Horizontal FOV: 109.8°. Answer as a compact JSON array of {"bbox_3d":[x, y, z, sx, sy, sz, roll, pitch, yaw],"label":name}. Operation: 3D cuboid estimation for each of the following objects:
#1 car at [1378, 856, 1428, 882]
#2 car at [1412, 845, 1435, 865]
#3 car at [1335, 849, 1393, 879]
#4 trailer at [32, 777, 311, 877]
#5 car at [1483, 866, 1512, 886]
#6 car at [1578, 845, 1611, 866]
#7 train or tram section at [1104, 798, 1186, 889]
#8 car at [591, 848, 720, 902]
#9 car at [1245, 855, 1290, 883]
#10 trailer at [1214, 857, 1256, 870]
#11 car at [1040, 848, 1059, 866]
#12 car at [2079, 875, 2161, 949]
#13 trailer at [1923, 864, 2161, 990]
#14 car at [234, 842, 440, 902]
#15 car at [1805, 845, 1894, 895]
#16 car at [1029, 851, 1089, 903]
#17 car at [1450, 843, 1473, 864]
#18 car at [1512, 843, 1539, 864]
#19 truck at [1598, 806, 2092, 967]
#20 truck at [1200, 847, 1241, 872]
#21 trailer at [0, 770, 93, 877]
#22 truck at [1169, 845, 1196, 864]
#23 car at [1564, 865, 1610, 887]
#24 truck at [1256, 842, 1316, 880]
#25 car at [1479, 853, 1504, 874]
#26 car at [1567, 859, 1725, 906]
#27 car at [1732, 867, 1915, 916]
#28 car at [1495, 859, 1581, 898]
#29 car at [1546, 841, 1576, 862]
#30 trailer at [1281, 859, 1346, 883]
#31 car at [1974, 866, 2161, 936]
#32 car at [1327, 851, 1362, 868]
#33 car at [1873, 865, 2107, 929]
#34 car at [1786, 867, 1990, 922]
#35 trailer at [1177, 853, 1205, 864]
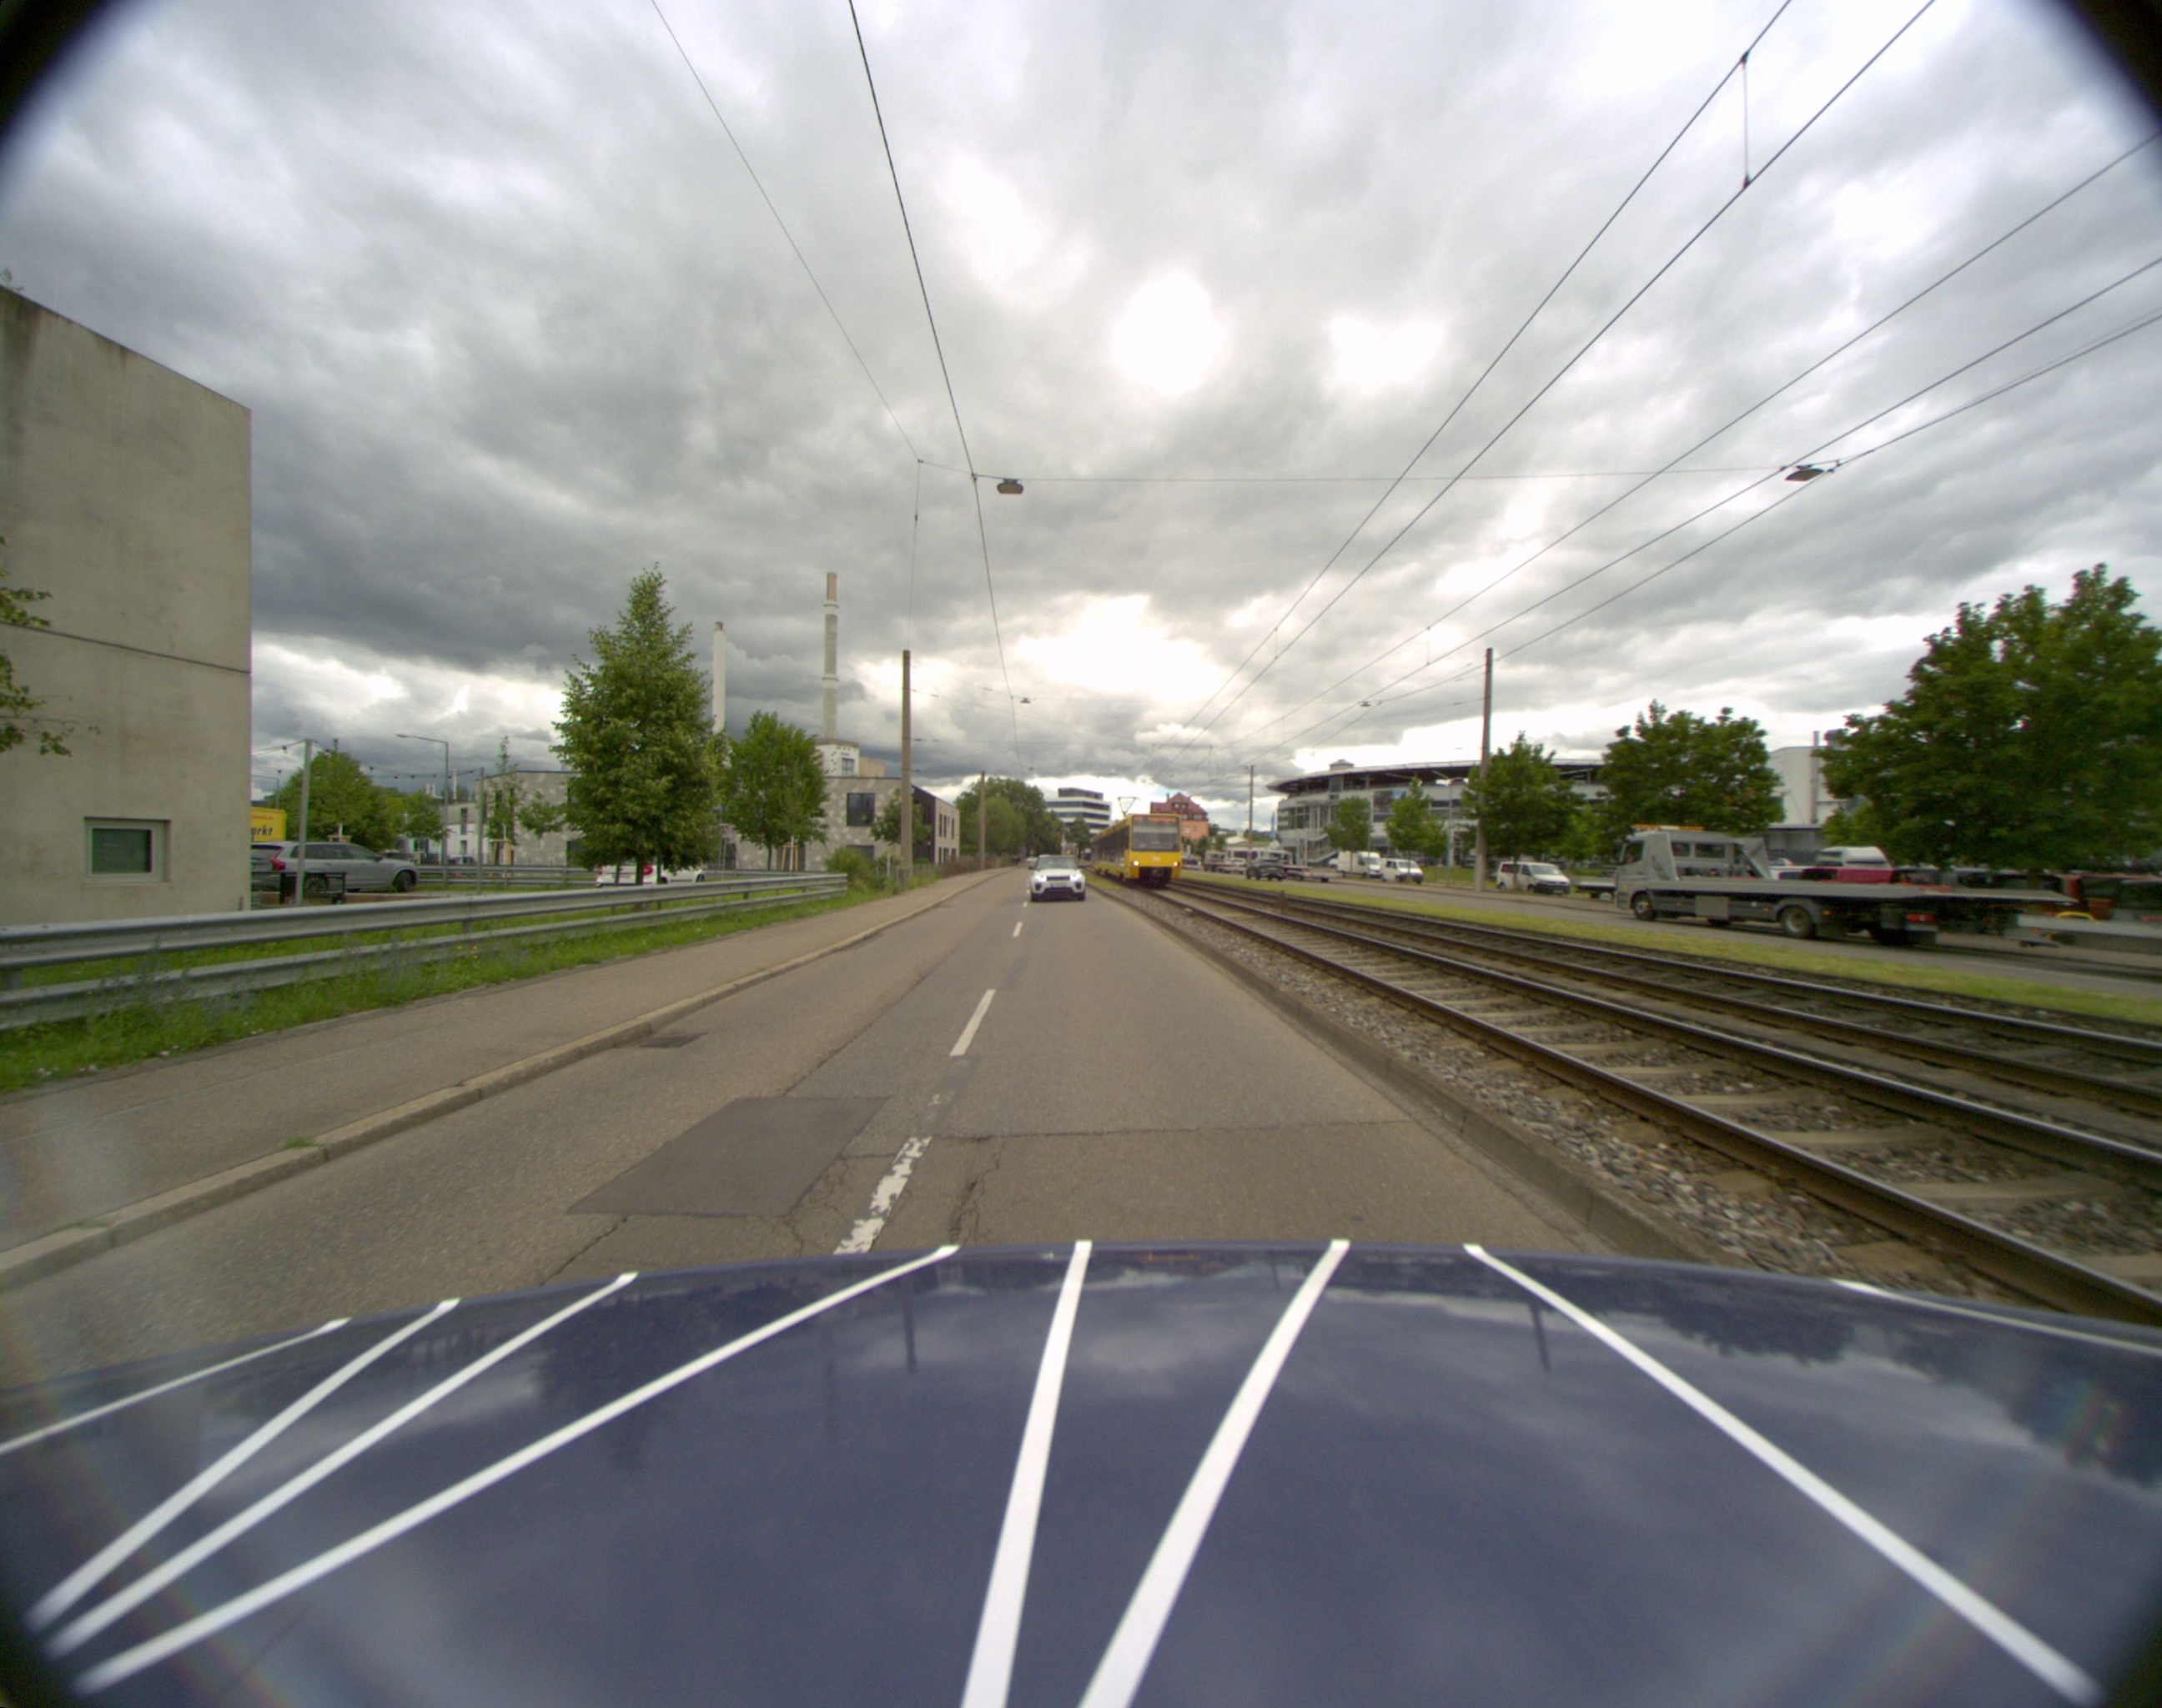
[{"bbox_3d":[26.035,1.193,61.572,1.999,2.002,4.807,0,0,0],"label":"car"},{"bbox_3d":[35.728,0.097,79.213,1.995,2.002,4.007,1,0,26],"label":"car"},{"bbox_3d":[25.203,0.882,67.917,2.001,2.546,5.856,0,0,-12],"label":"car"},{"bbox_3d":[-41.726,-1.041,35.528,2.948,4.047,8.693,1,-1,-4],"label":"trailer"},{"bbox_3d":[36.842,1.933,67.292,1.673,1.608,3.721,1,0,19],"label":"car"},{"bbox_3d":[49.213,0.123,72.907,1.995,2.002,4.007,1,1,26],"label":"car"},{"bbox_3d":[3.103,-0.561,42.313,3.396,3.984,16.942,-1,1,1],"label":"train or tram section"},{"bbox_3d":[-13.544,0.627,24.525,1.754,1.564,4.429,-1,0,-2],"label":"car"},{"bbox_3d":[13.410,1.032,54.867,1.998,1.729,4.533,3,1,0],"label":"car"},{"bbox_3d":[17.301,1.035,85.850,3.057,1.270,7.005,3,0,-2],"label":"trailer"},{"bbox_3d":[-3.479,0.360,83.562,1.999,1.881,4.625,1,0,-4],"label":"car"},{"bbox_3d":[26.178,1.334,17.248,3.994,1.608,2.001,1,0,8],"label":"car"},{"bbox_3d":[16.083,1.091,10.068,2.387,1.688,6.949,3,1,4],"label":"trailer"},{"bbox_3d":[-23.409,0.523,24.224,1.916,1.710,4.688,1,0,1],"label":"car"},{"bbox_3d":[44.152,0.872,43.806,1.995,2.690,4.869,1,1,25],"label":"car"},{"bbox_3d":[-0.785,0.772,27.691,1.999,1.718,3.999,-1,0,-1],"label":"car"},{"bbox_3d":[38.725,-0.060,77.322,1.995,2.002,4.007,1,0,26],"label":"car"},{"bbox_3d":[44.969,-0.058,76.941,1.995,2.002,4.007,1,1,26],"label":"car"},{"bbox_3d":[16.651,0.566,18.080,2.762,2.726,9.221,3,0,4],"label":"truck"},{"bbox_3d":[17.095,0.642,93.834,3.115,2.904,8.959,3,0,-2],"label":"truck"},{"bbox_3d":[-42.311,-1.185,25.917,2.911,3.939,10.043,1,-1,24],"label":"trailer"},{"bbox_3d":[16.224,0.113,122.310,3.057,2.843,9.065,0,0,-1],"label":"truck"},{"bbox_3d":[41.210,1.770,61.976,1.674,1.608,3.718,1,0,9],"label":"car"},{"bbox_3d":[17.658,0.555,66.162,2.871,2.964,8.454,3,0,0],"label":"truck"},{"bbox_3d":[41.471,0.900,76.864,1.995,2.002,4.007,1,1,26],"label":"car"},{"bbox_3d":[26.841,1.282,36.417,5.700,1.996,2.147,1,1,24],"label":"car"},{"bbox_3d":[26.980,1.311,27.763,4.353,1.608,2.121,1,0,8],"label":"car"},{"bbox_3d":[25.823,1.328,43.162,1.998,2.002,4.860,1,1,1],"label":"car"},{"bbox_3d":[46.361,-0.266,73.509,1.995,2.002,4.007,1,1,26],"label":"car"},{"bbox_3d":[17.682,1.246,58.313,2.765,1.486,7.225,3,0,0],"label":"trailer"},{"bbox_3d":[25.900,1.157,19.197,3.994,1.608,2.001,1,0,8],"label":"car"},{"bbox_3d":[32.010,0.650,92.199,4.007,2.002,1.995,1,0,-34],"label":"car"},{"bbox_3d":[26.090,1.193,21.971,3.994,1.655,2.049,1,0,8],"label":"car"},{"bbox_3d":[26.164,1.270,24.806,4.186,1.608,2.064,1,0,8],"label":"car"},{"bbox_3d":[16.479,0.635,113.988,2.985,1.678,7.567,0,0,-1],"label":"trailer"}]
